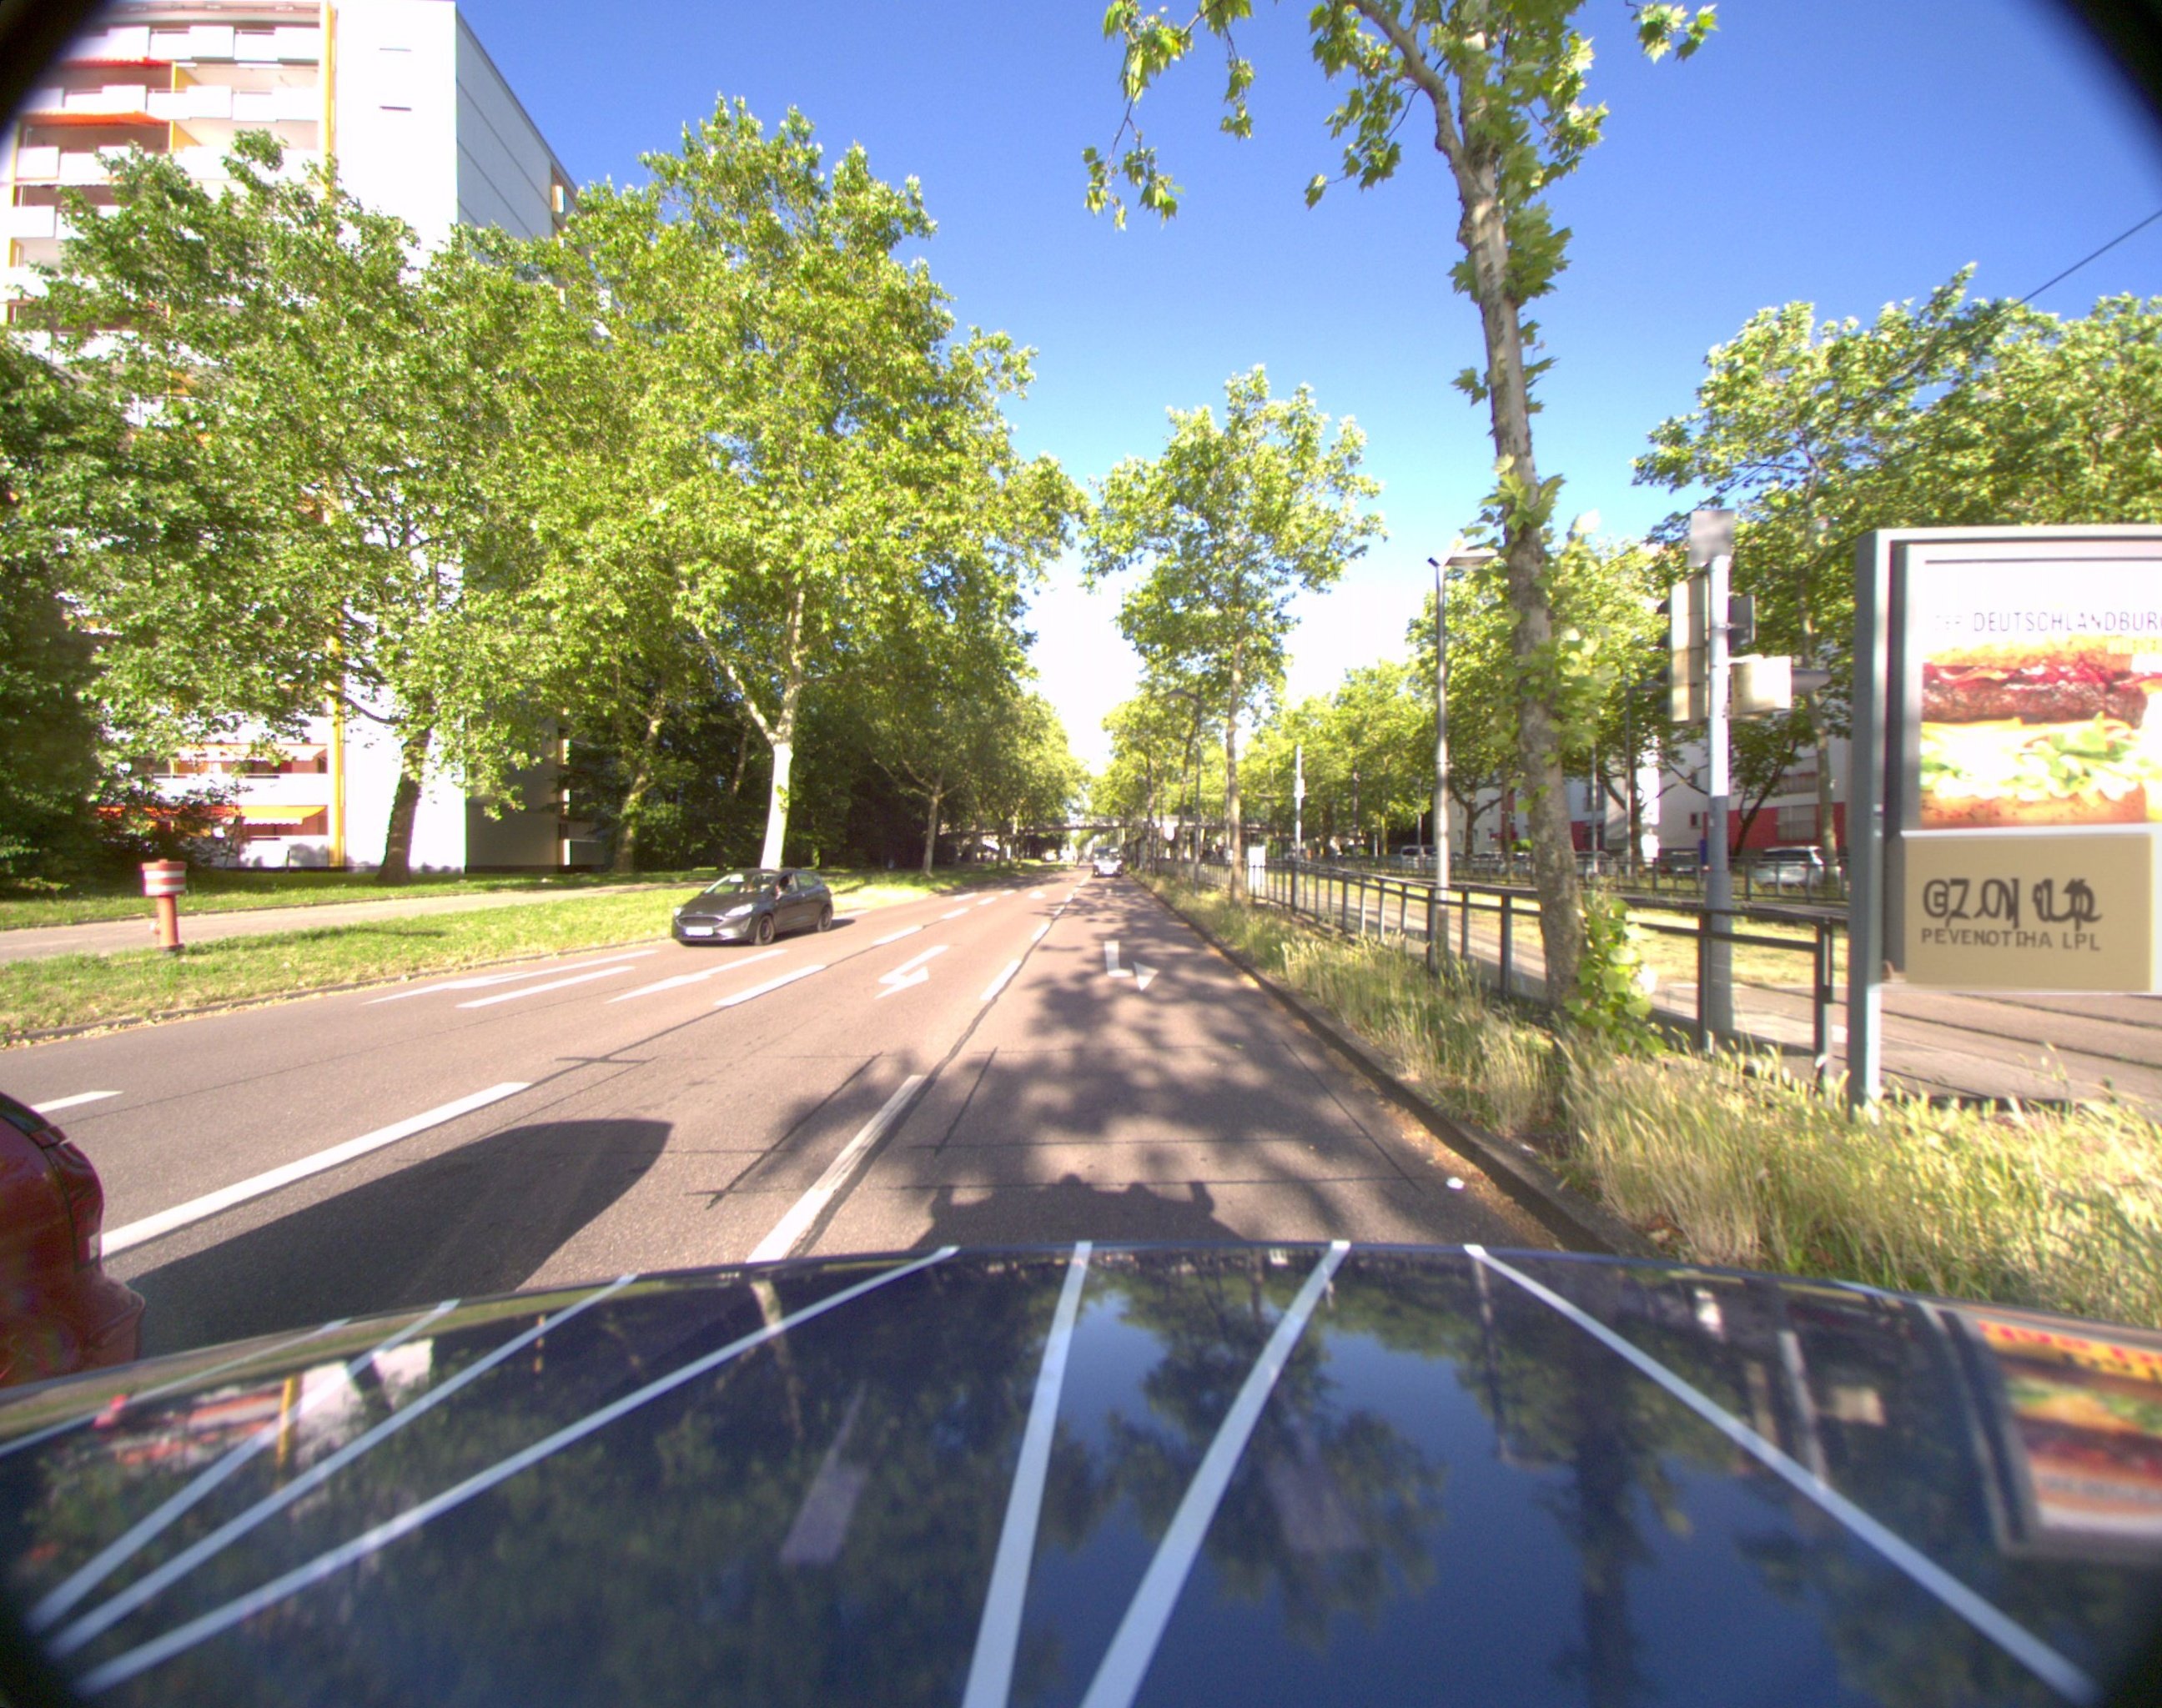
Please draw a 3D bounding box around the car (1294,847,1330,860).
[{"bbox_3d":[27.195,-0.056,89.416,4.376,1.367,1.919,-1,1,-39],"label":"car"}]

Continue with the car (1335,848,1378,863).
[{"bbox_3d":[26.582,0.102,73.265,4.376,1.367,1.919,-1,1,-39],"label":"car"}]

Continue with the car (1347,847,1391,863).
[{"bbox_3d":[26.671,0.062,70.304,4.376,1.367,1.919,-1,1,-39],"label":"car"}]

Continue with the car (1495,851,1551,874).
[{"bbox_3d":[26.194,0.484,44.948,3.689,1.234,1.645,-1,1,-39],"label":"car"}]

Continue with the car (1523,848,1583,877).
[{"bbox_3d":[25.805,0.431,41.505,3.689,1.440,1.645,-1,1,-39],"label":"car"}]

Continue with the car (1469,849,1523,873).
[{"bbox_3d":[25.951,0.417,47.482,3.689,1.440,1.645,-1,1,-39],"label":"car"}]

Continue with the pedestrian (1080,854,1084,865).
[{"bbox_3d":[0.123,0.740,102.957,0.398,1.454,0.417,-1,1,-3],"label":"pedestrian"}]

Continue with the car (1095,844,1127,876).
[{"bbox_3d":[2.018,0.366,52.825,2.040,2.102,5.113,-1,0,1],"label":"car"}]

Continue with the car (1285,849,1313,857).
[{"bbox_3d":[35.180,-0.178,122.745,4.026,1.335,1.621,-1,1,-8],"label":"car"}]

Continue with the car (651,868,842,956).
[{"bbox_3d":[-6.601,1.079,15.505,1.749,1.460,3.894,-1,0,8],"label":"car"}]

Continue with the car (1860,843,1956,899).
[{"bbox_3d":[25.013,0.463,22.948,3.689,1.558,1.683,-1,1,-38],"label":"car"}]

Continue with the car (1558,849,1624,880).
[{"bbox_3d":[25.325,0.503,37.678,3.689,1.384,1.645,-1,1,-38],"label":"car"}]

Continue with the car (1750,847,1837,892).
[{"bbox_3d":[25.051,0.496,26.673,3.689,1.425,1.683,-1,1,-38],"label":"car"}]

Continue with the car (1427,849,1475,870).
[{"bbox_3d":[26.240,0.350,53.886,3.689,1.388,1.645,-1,1,-39],"label":"car"}]

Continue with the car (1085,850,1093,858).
[{"bbox_3d":[2.240,-0.068,209.670,2.040,1.995,5.113,-1,0,1],"label":"car"}]

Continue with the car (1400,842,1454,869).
[{"bbox_3d":[25.955,0.088,56.979,4.376,1.873,1.919,-1,1,-39],"label":"car"}]

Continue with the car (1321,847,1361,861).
[{"bbox_3d":[27.236,0.028,79.562,4.376,1.367,1.919,-1,1,-39],"label":"car"}]
